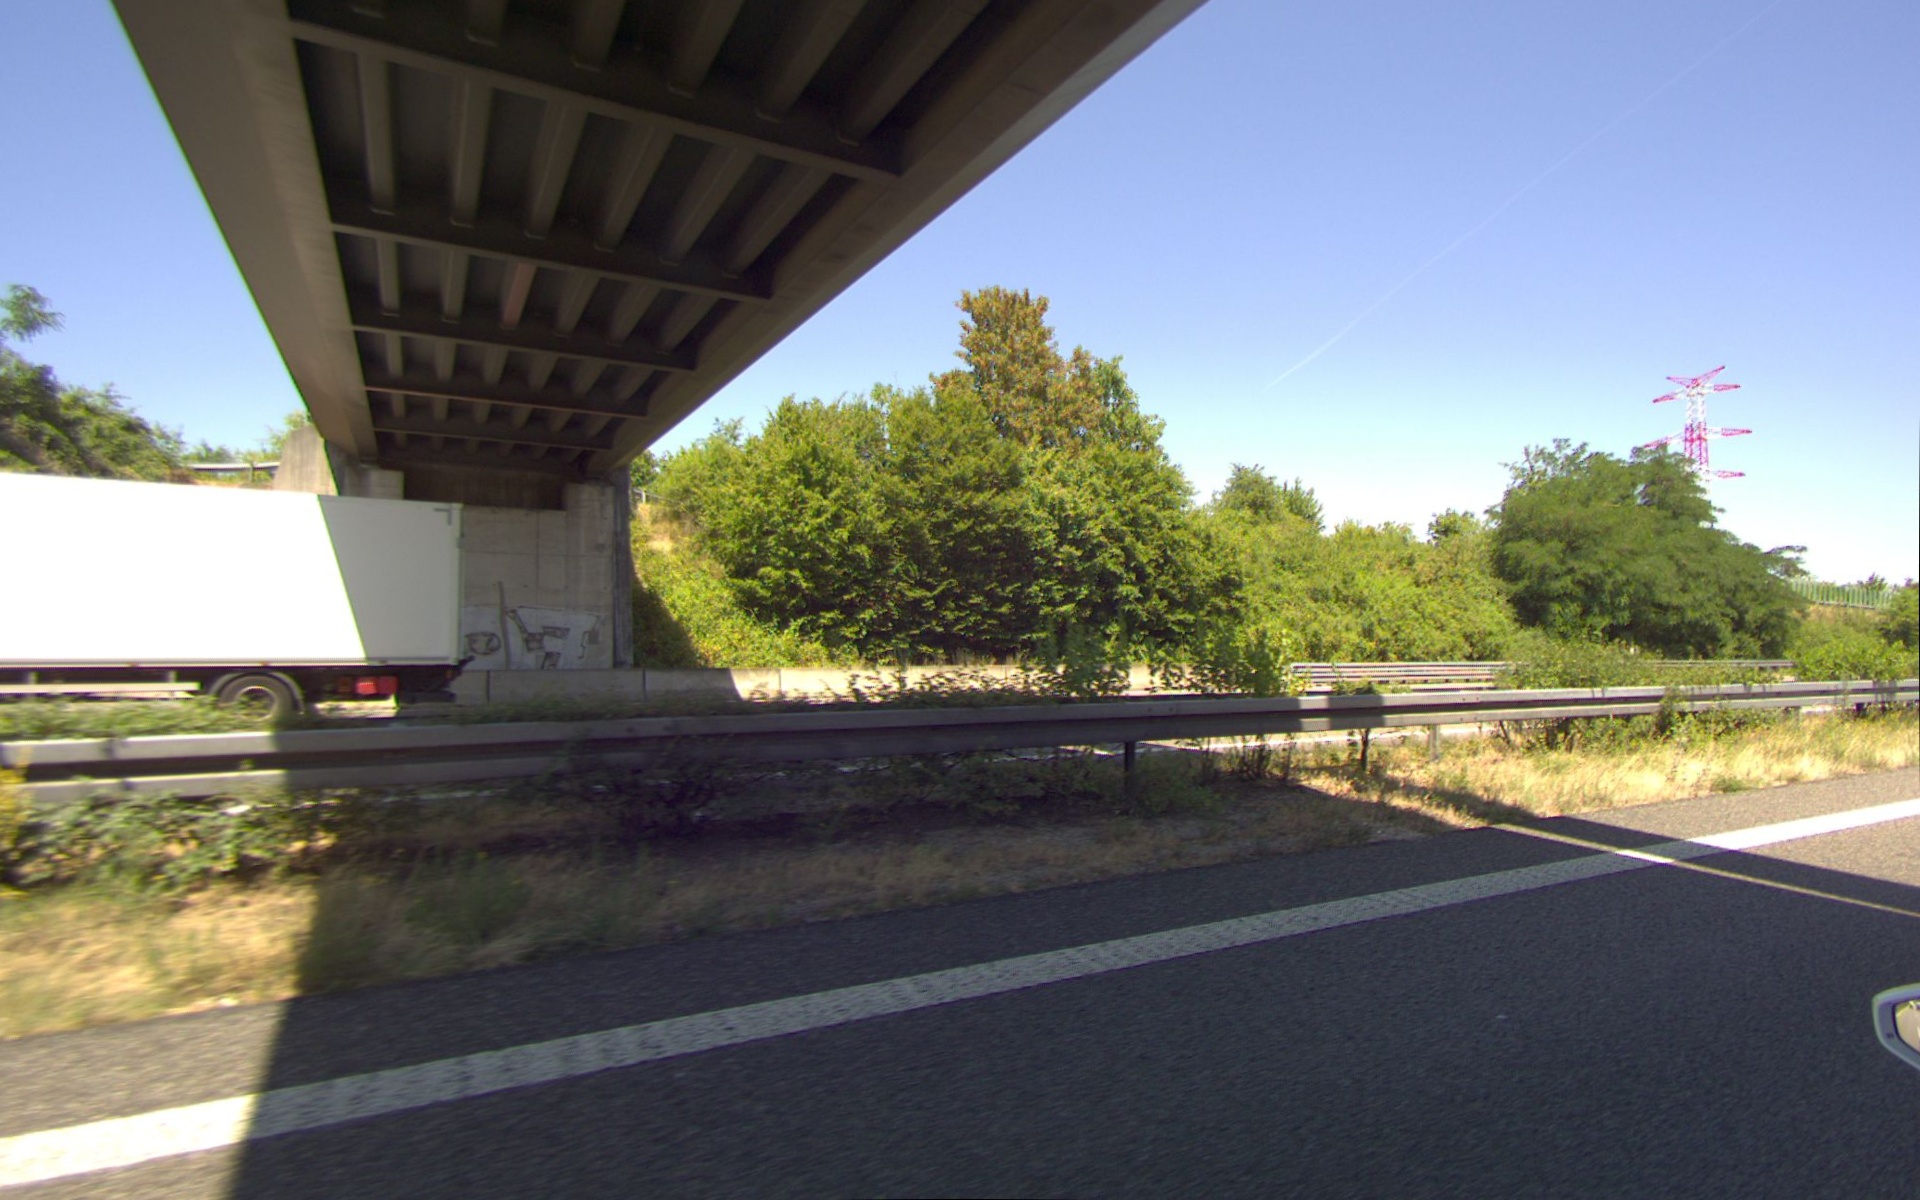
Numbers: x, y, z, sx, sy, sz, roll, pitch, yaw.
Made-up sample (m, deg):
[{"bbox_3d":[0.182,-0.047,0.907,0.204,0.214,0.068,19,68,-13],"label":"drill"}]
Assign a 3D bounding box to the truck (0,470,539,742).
[{"bbox_3d":[-11.996,0.162,15.242,10.068,3.583,2.795,1,-3,-30],"label":"truck"}]
